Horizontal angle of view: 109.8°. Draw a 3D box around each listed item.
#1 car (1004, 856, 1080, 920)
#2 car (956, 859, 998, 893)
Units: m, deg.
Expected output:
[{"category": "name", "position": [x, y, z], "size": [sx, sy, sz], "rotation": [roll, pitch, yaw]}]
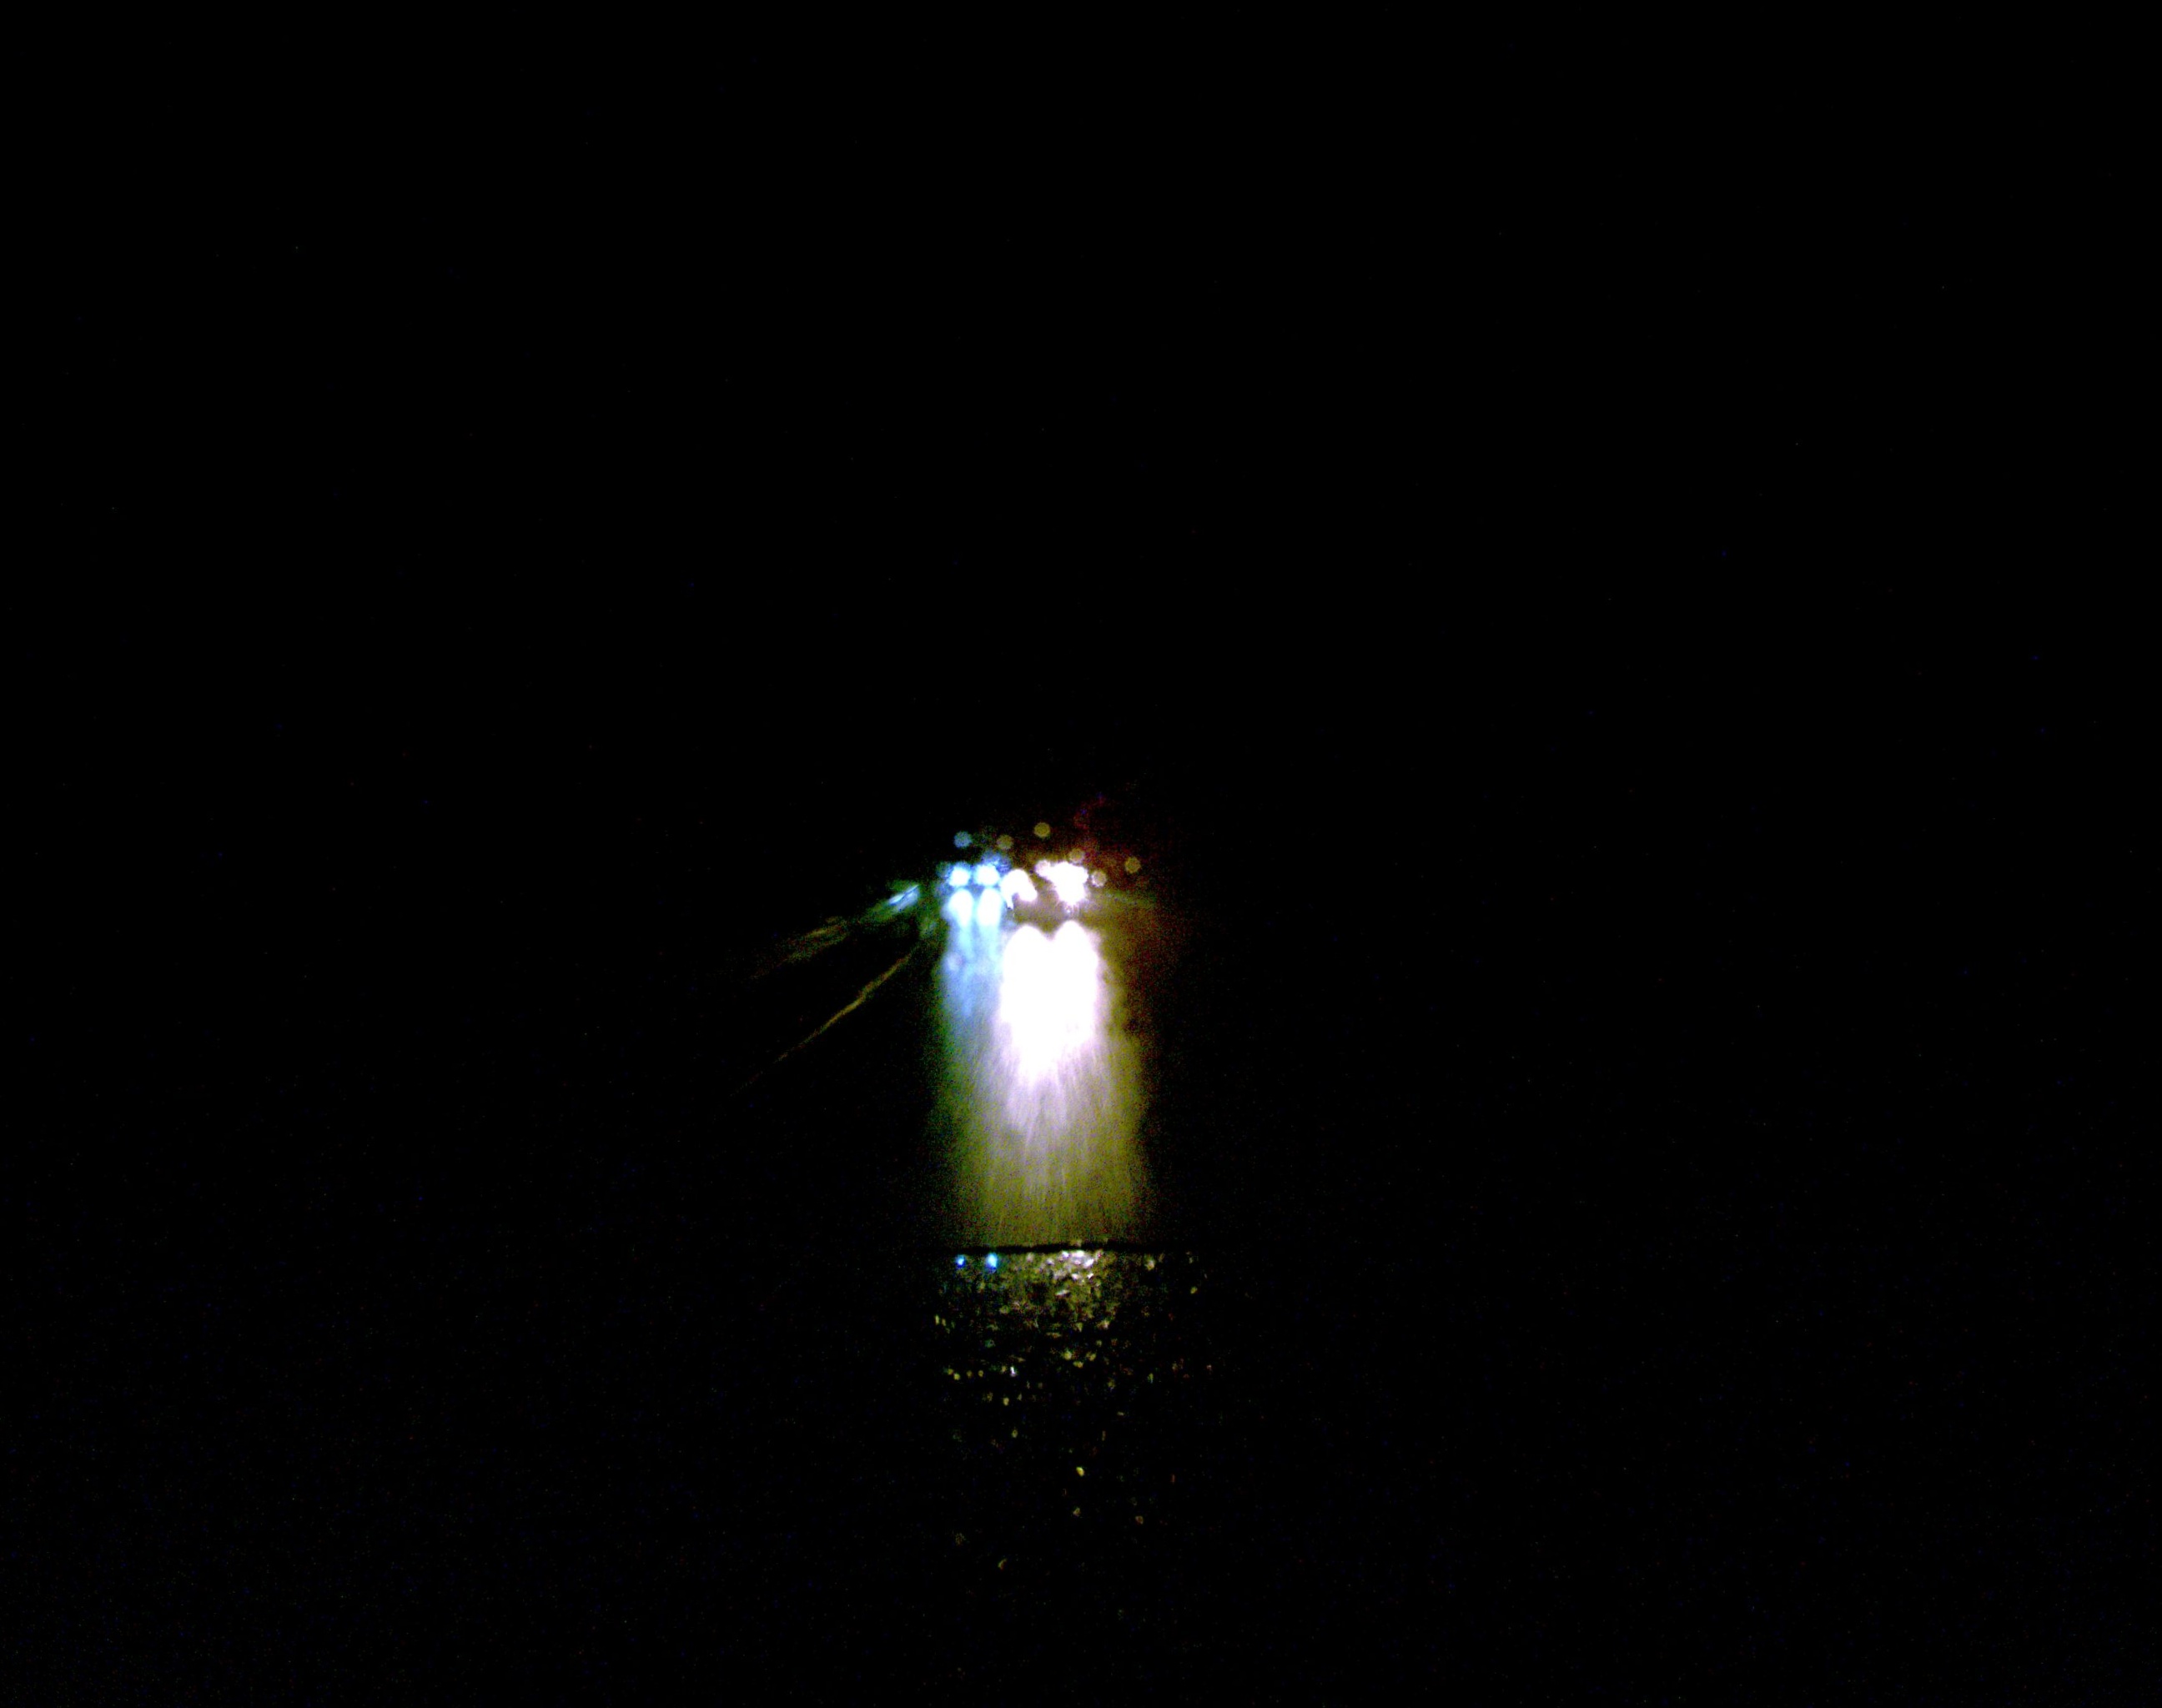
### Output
[{"category": "car", "position": [-1.105, 0.858, 21.242], "size": [1.850, 1.441, 3.998], "rotation": [-3, 1, -3]}, {"category": "car", "position": [-5.278, 1.062, 38.268], "size": [1.850, 1.441, 3.871], "rotation": [-3, 1, -10]}]
